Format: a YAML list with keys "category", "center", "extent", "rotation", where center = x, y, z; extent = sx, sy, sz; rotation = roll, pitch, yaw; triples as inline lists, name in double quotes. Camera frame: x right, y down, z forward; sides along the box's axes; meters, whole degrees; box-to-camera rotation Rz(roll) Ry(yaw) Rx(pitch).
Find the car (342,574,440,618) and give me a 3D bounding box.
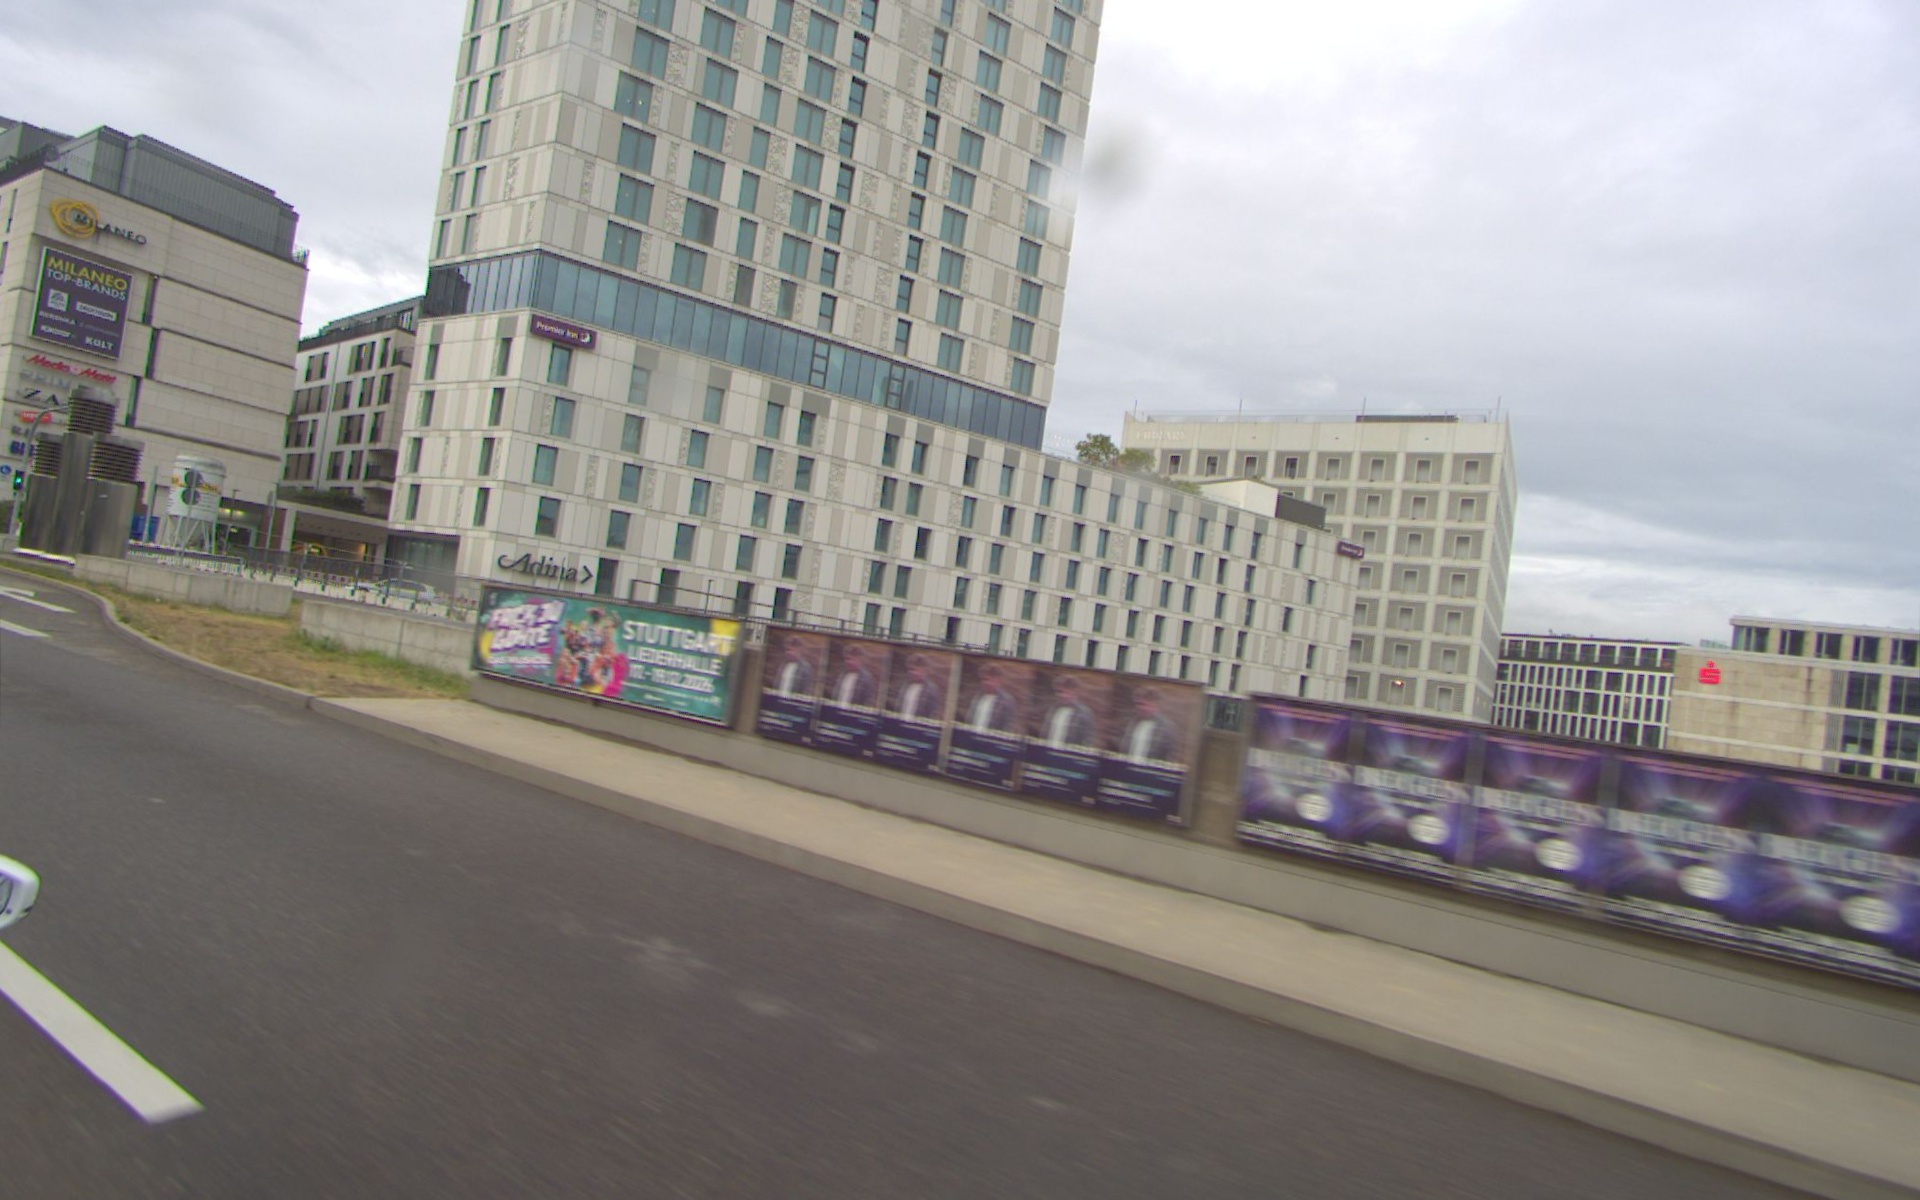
- category: "car"
  center: [-27.824, -0.165, 49.285]
  extent: [3.962, 1.448, 1.731]
  rotation: [11, -4, -30]
